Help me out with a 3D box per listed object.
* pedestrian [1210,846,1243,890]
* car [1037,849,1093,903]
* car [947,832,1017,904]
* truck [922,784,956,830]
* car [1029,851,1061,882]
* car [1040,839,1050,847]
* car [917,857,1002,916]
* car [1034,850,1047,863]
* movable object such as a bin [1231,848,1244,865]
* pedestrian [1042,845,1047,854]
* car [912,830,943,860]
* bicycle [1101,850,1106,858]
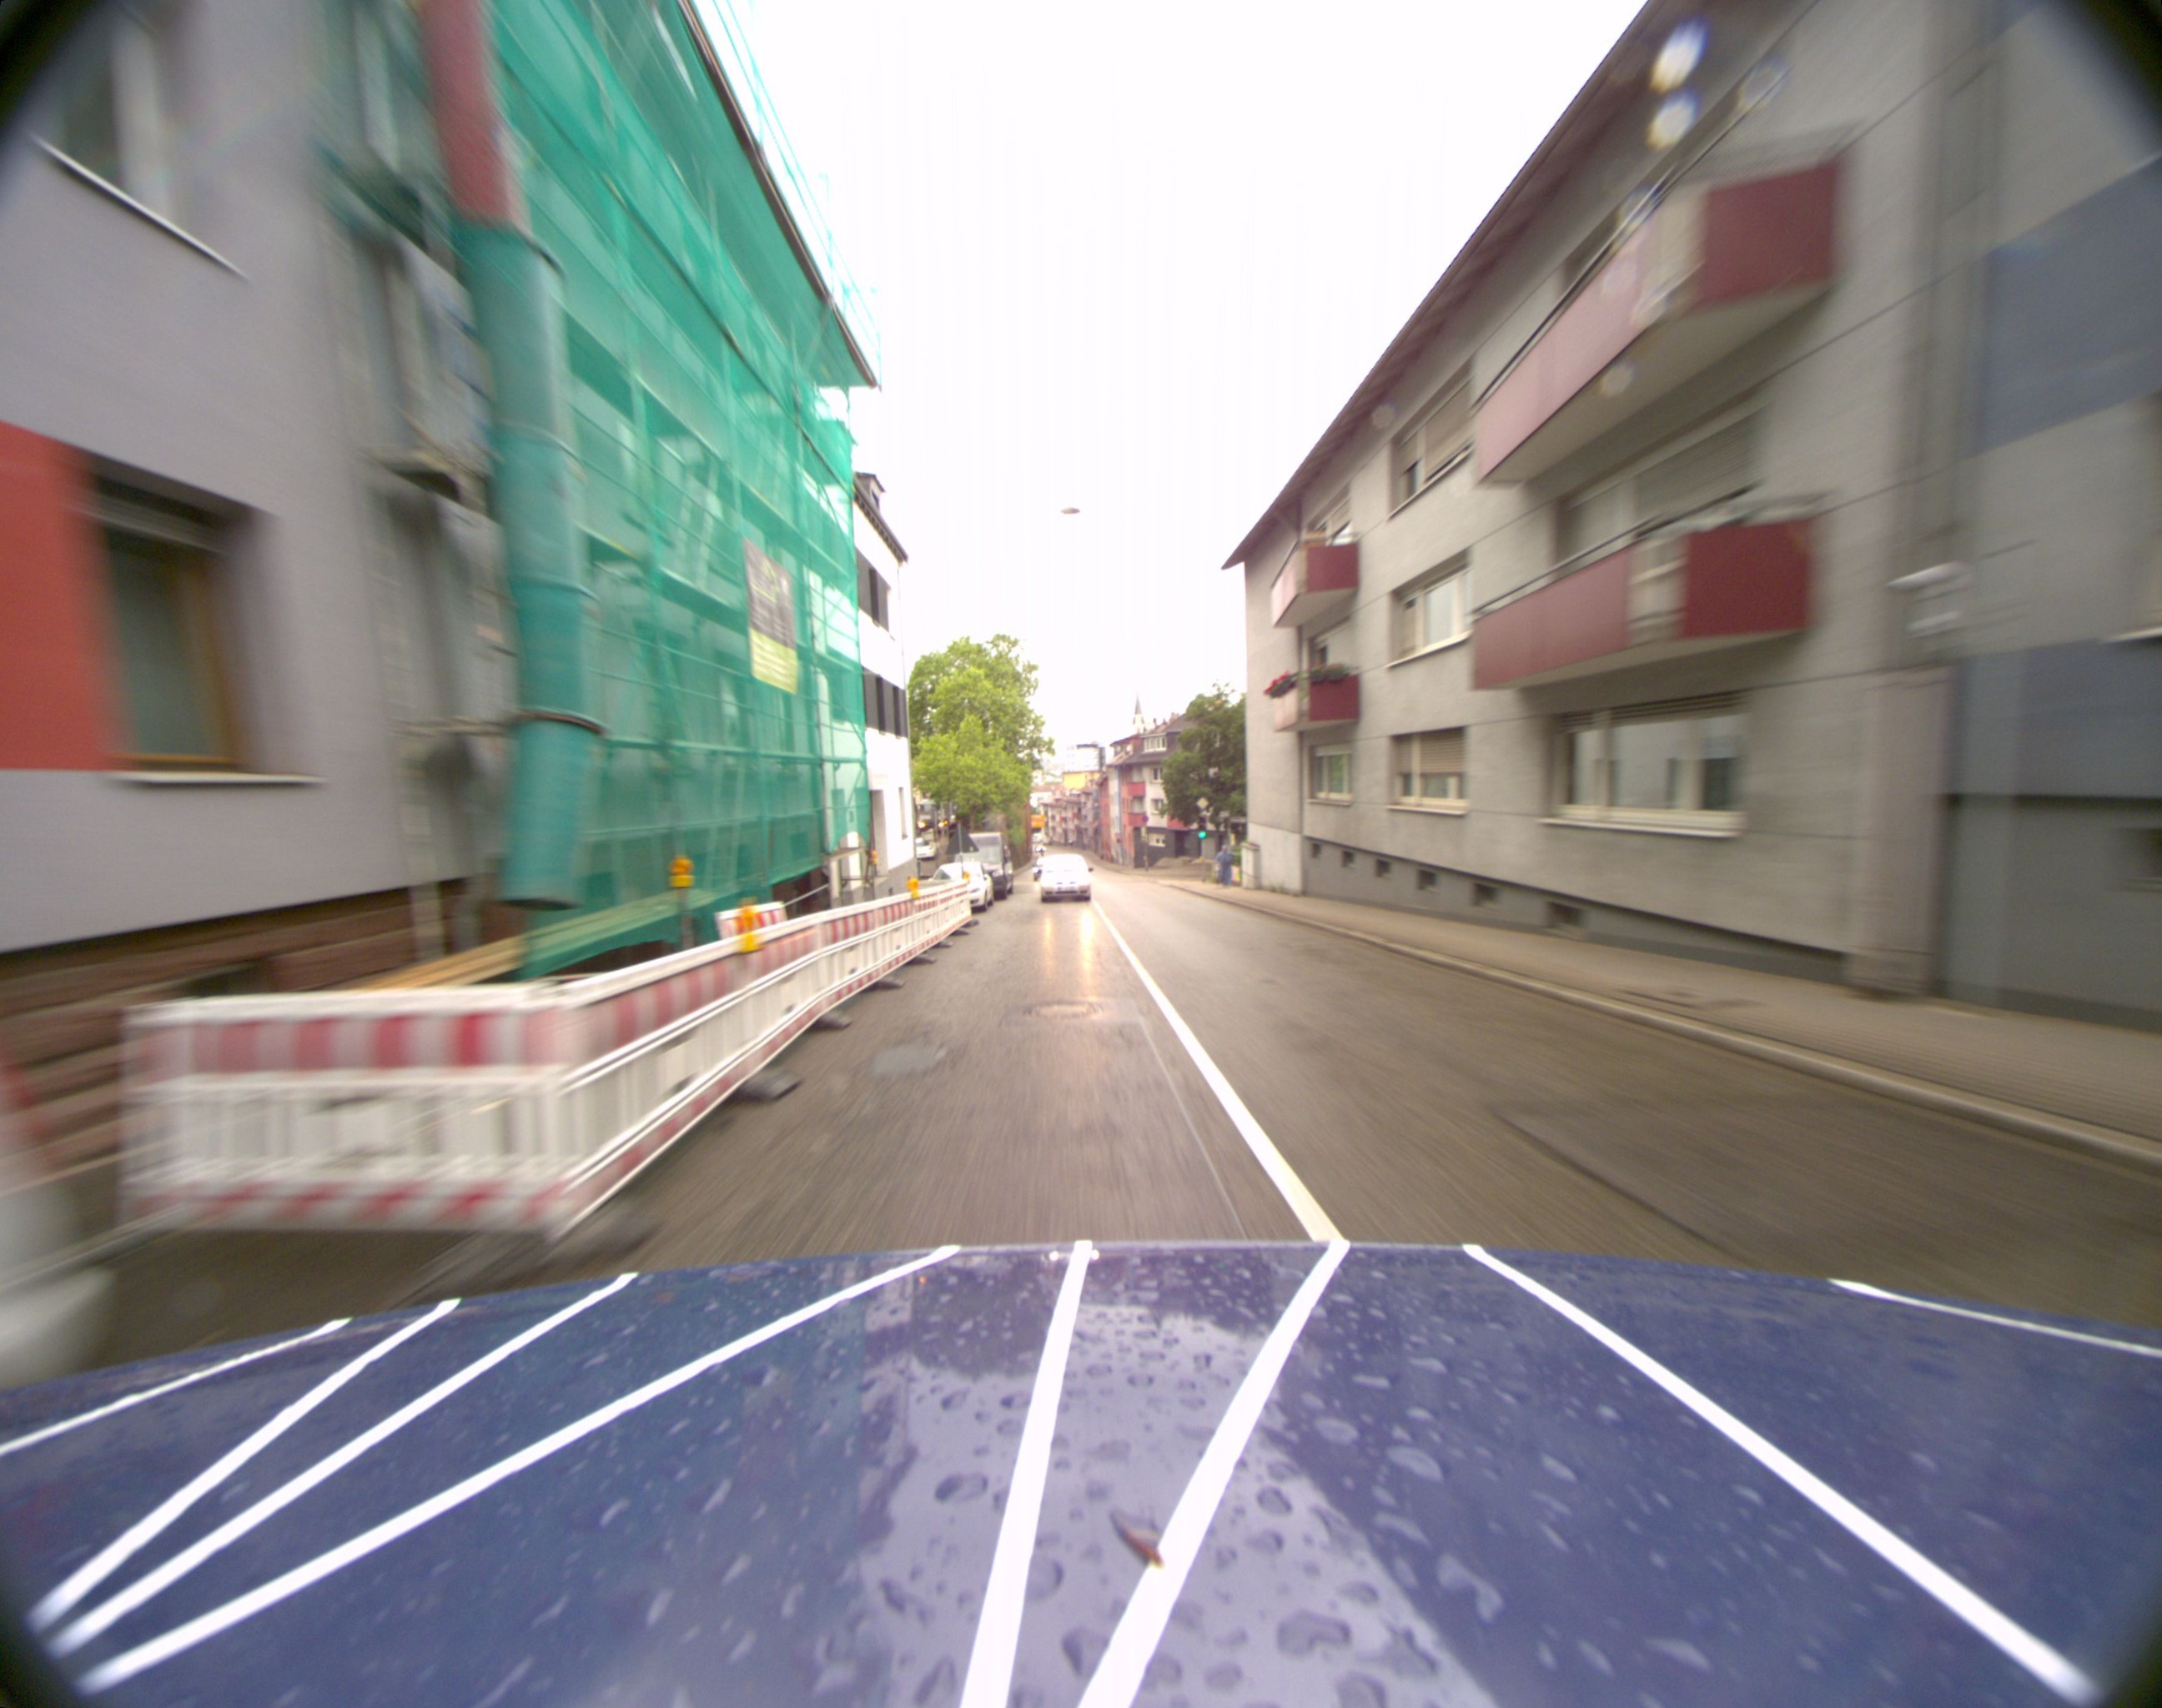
[{"bbox_3d":[5.380,0.525,28.180,0.871,1.532,1.087,-3,0,-4],"label":"pedestrian"},{"bbox_3d":[-0.599,0.703,26.542,1.720,1.528,3.997,-3,2,-2],"label":"car"},{"bbox_3d":[-3.780,0.411,29.996,1.999,2.400,5.833,-3,2,-1],"label":"car"},{"bbox_3d":[-13.879,-4.769,75.100,2.756,3.296,11.201,0,10,-8],"label":"truck"},{"bbox_3d":[-2.148,0.709,46.161,1.720,1.528,3.997,-3,2,-1],"label":"car"},{"bbox_3d":[-7.985,-2.459,168.869,1.638,1.521,3.997,-3,0,-8],"label":"car"},{"bbox_3d":[-3.700,0.934,23.966,1.999,1.503,4.336,-3,1,-1],"label":"car"},{"bbox_3d":[-5.204,0.342,98.087,1.637,1.521,3.999,-3,0,-2],"label":"car"},{"bbox_3d":[11.529,0.194,55.955,0.562,1.193,0.687,-5,3,-27],"label":"movable object such as a bin"},{"bbox_3d":[-6.606,-0.876,138.093,0.871,1.532,1.087,-3,0,-4],"label":"pedestrian"},{"bbox_3d":[-11.353,-0.716,56.492,1.635,1.486,4.338,-3,9,-4],"label":"car"},{"bbox_3d":[3.564,-0.043,122.047,0.572,1.111,2.038,-4,2,-1],"label":"bicycle"}]
